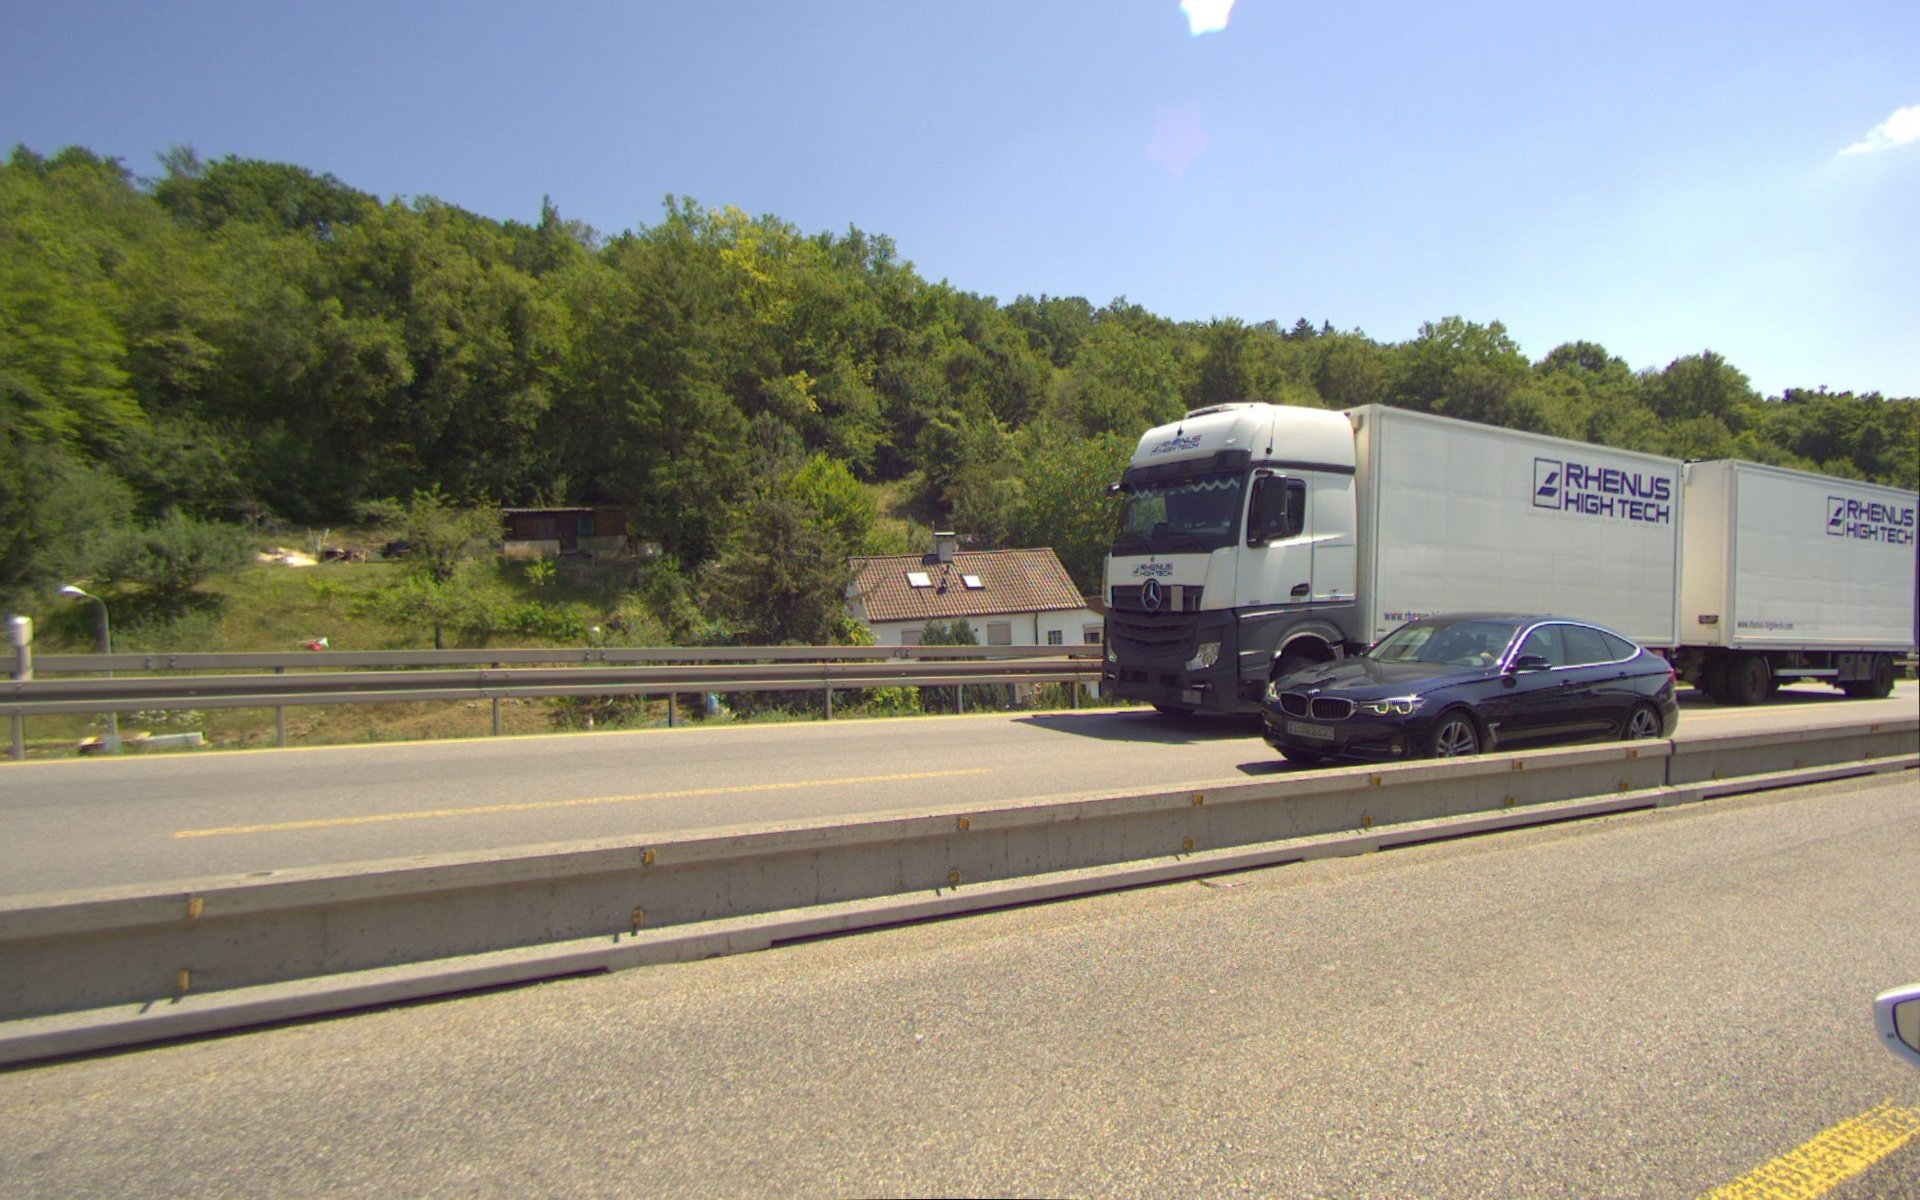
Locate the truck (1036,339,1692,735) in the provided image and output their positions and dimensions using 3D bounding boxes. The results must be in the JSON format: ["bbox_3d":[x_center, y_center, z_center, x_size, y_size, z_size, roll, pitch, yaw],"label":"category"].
[{"bbox_3d":[6.267,-0.601,14.574,10.417,4.218,2.965,1,0,-29],"label":"truck"}]

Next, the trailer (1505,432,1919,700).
[{"bbox_3d":[14.664,-0.454,19.300,8.905,4.221,2.991,1,0,-29],"label":"trailer"}]

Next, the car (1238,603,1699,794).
[{"bbox_3d":[5.043,0.812,9.806,4.564,1.498,1.774,1,0,-29],"label":"car"}]
